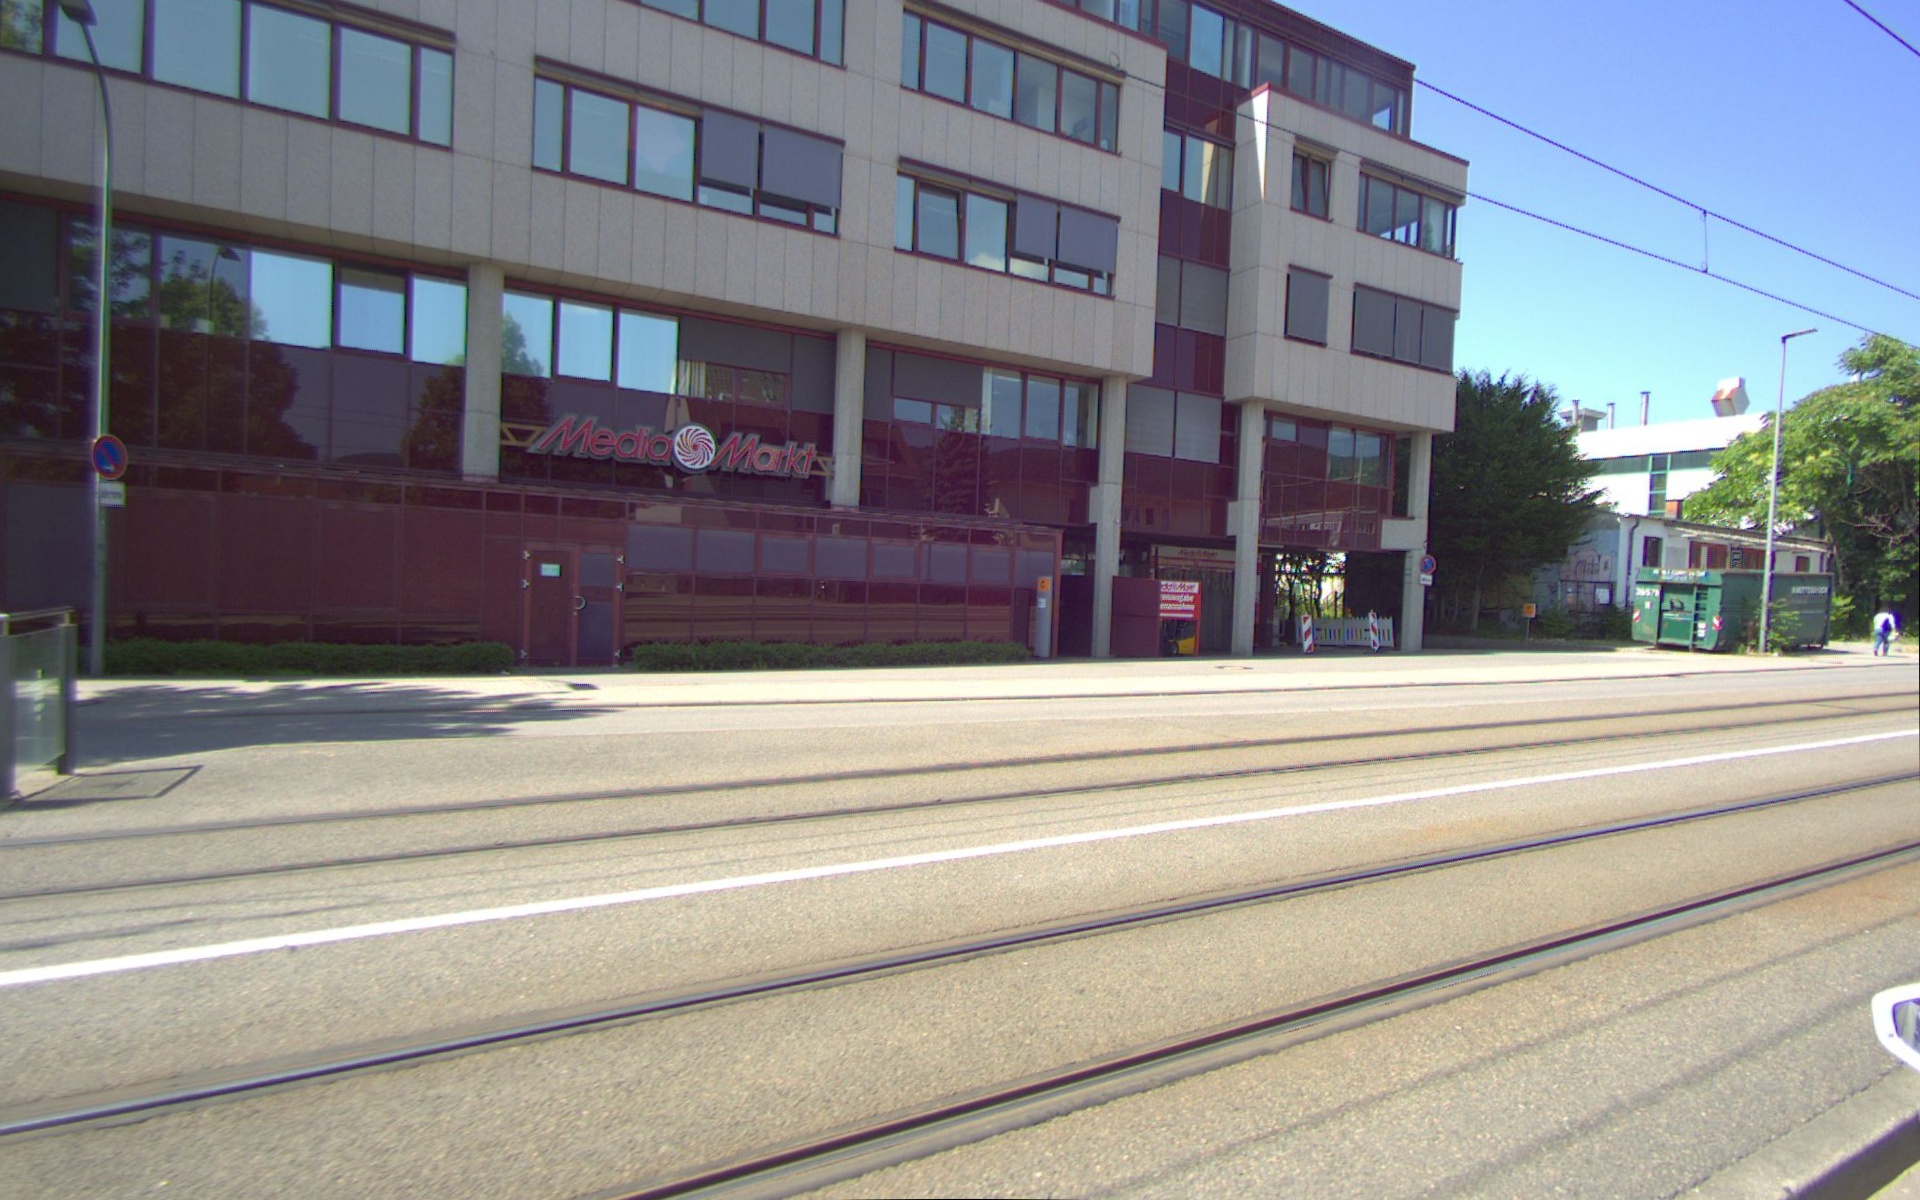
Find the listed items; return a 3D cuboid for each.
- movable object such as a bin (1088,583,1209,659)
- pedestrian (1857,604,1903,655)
[{"bbox_3d":[5.447,0.583,28.859,3.061,2.040,1.974,1,0,-43],"label":"movable object such as a bin"},{"bbox_3d":[29.231,0.928,31.925,0.828,1.558,0.830,1,1,-30],"label":"pedestrian"}]
